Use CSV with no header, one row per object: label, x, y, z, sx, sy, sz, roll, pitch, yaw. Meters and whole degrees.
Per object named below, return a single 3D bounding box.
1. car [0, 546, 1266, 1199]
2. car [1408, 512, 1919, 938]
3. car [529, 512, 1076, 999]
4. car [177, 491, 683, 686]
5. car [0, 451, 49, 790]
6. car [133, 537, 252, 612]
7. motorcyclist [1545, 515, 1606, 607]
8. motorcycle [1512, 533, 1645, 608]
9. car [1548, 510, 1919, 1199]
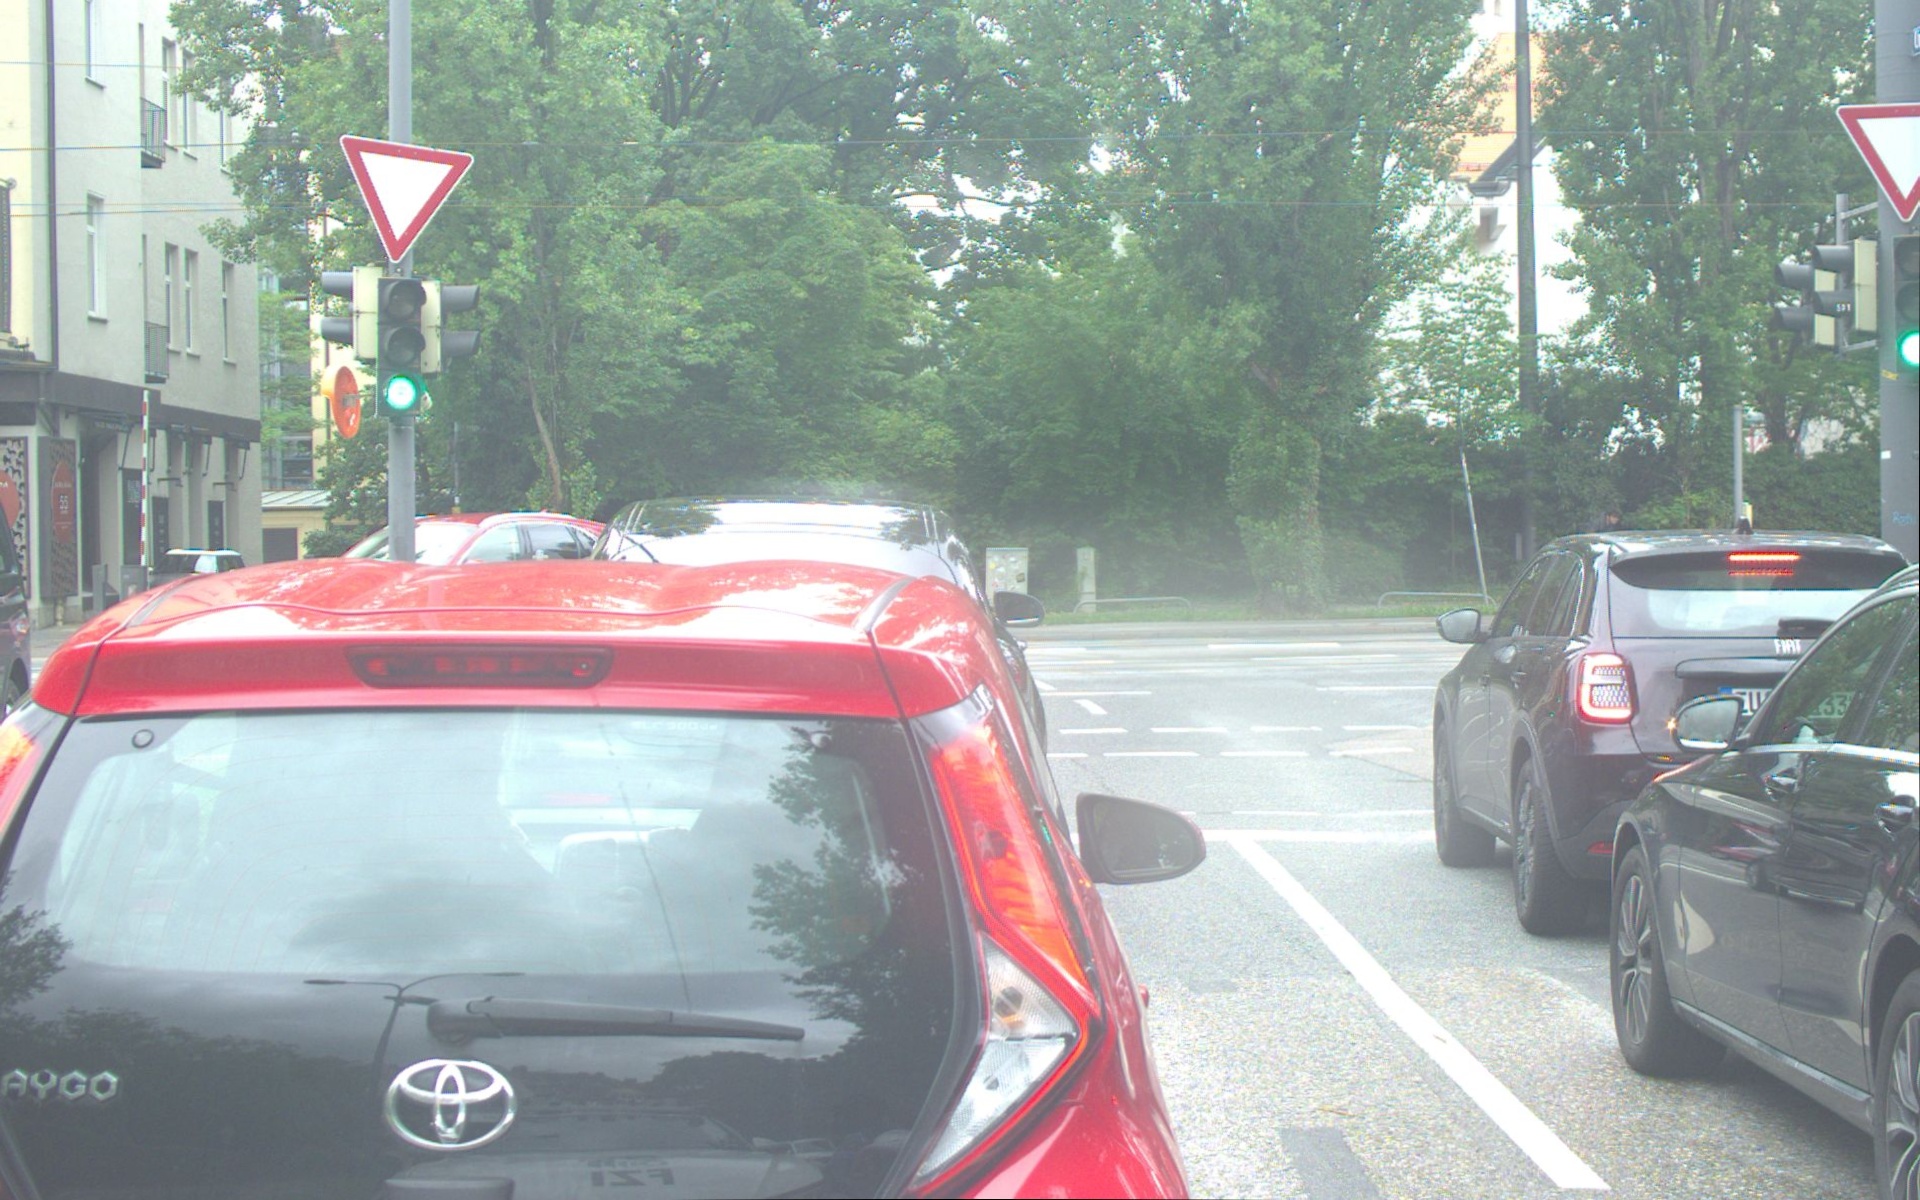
car,-0.499,0.663,4.996,1.628,1.435,3.377,-1,1,1
car,2.982,0.409,14.144,1.781,1.481,4.000,-1,1,1
car,-0.480,0.450,13.351,1.736,1.544,4.576,-1,1,1
car,-5.009,-0.171,33.257,2.107,1.632,4.931,0,3,31
car,-6.497,0.154,19.162,1.857,1.984,4.706,-1,1,-4
car,-15.413,-0.534,69.213,1.725,1.437,4.001,-1,1,-4
motorcyclist,9.834,-0.624,54.940,0.879,1.438,0.620,1,0,5
motorcycle,9.878,-0.471,54.953,2.023,1.165,0.630,1,0,5
car,2.720,0.583,7.956,1.863,1.544,4.704,1,1,0
